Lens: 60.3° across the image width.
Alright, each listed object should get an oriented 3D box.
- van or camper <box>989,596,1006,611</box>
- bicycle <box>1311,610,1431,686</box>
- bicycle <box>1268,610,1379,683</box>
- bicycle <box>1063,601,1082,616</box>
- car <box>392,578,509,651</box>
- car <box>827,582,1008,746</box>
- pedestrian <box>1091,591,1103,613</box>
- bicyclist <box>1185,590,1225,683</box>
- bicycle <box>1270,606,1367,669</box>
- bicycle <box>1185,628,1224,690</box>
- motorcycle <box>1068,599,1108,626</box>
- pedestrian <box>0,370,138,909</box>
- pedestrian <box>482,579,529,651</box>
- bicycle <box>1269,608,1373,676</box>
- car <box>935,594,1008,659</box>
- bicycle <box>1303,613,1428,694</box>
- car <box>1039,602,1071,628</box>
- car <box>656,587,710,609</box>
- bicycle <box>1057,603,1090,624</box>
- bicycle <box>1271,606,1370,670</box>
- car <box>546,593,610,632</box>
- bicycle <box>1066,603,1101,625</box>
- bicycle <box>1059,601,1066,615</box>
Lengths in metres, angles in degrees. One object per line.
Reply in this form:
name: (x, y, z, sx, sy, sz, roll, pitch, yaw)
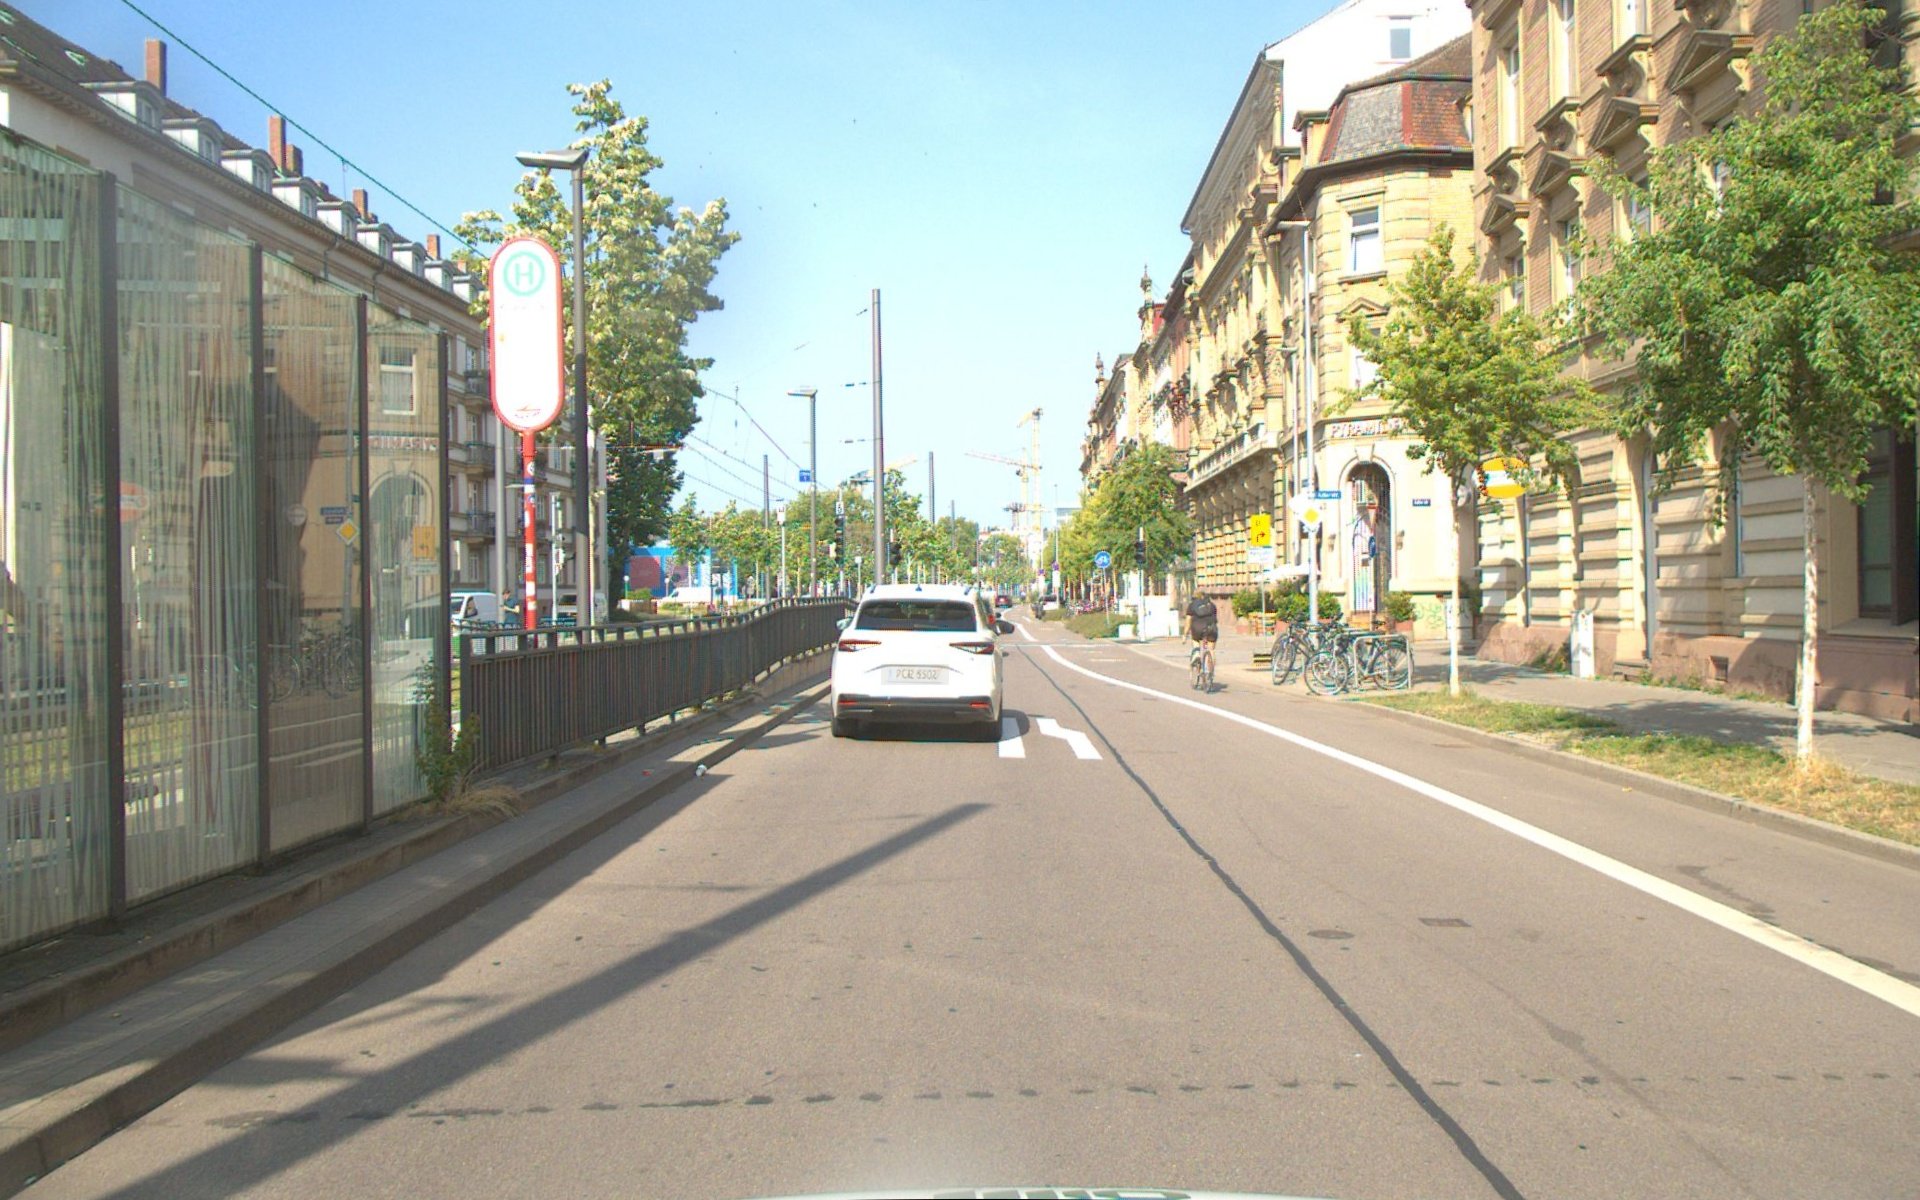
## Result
van or camper: (4.496, 0.386, 197.767, 1.952, 1.684, 4.000, -1, 0, 1)
bicycle: (6.760, 0.778, 27.227, 1.723, 1.106, 0.656, -4, 0, -8)
bicycle: (6.244, 0.794, 28.442, 1.731, 1.106, 0.668, -4, 0, -22)
bicycle: (9.009, 0.680, 132.425, 0.447, 1.101, 1.865, -3, -3, 42)
car: (-15.377, 0.410, 50.182, 1.953, 2.049, 4.932, -1, 0, 0)
car: (-0.368, 0.628, 18.559, 1.779, 1.617, 4.407, 0, 0, 1)
pedestrian: (11.180, 0.146, 134.621, 0.806, 1.726, 0.793, -3, 0, -3)
bicyclist: (4.006, 0.595, 27.114, 0.571, 1.508, 0.932, 0, -1, 4)
bicycle: (6.879, 0.723, 31.782, 1.715, 1.106, 0.583, -3, 0, 4)
bicycle: (4.018, 0.954, 27.263, 0.494, 0.970, 1.786, 0, -1, 4)
motorcycle: (6.603, 0.651, 85.139, 2.016, 1.309, 0.697, -3, 1, -33)
pedestrian: (-4.050, 0.144, 6.769, 0.816, 2.049, 1.028, 1, -1, -2)
pedestrian: (-12.164, 0.392, 44.263, 1.055, 1.900, 0.857, -1, -1, -27)
bicycle: (6.516, 0.757, 29.931, 1.718, 1.106, 0.669, -3, 0, 6)
car: (0.325, 0.614, 40.827, 1.718, 1.510, 4.407, 0, 0, 1)
bicycle: (6.281, 0.822, 25.668, 1.723, 1.106, 0.610, -4, 0, -8)
car: (6.411, 1.019, 112.107, 1.734, 1.616, 4.246, -2, 0, -2)
car: (-36.913, -0.285, 220.458, 6.772, 2.685, 2.500, 2, -1, -20)
bicycle: (6.227, 0.739, 90.465, 1.748, 1.072, 0.373, -3, 0, 0)
bicycle: (6.788, 0.716, 31.182, 1.715, 1.106, 0.583, -3, 0, 4)
car: (-19.640, 0.623, 85.282, 1.952, 1.951, 5.154, 1, 0, 2)
bicycle: (6.681, 0.743, 89.263, 1.771, 1.115, 0.671, -3, 0, -4)
bicycle: (8.293, 0.667, 133.321, 0.482, 1.113, 1.827, -1, 0, 2)
